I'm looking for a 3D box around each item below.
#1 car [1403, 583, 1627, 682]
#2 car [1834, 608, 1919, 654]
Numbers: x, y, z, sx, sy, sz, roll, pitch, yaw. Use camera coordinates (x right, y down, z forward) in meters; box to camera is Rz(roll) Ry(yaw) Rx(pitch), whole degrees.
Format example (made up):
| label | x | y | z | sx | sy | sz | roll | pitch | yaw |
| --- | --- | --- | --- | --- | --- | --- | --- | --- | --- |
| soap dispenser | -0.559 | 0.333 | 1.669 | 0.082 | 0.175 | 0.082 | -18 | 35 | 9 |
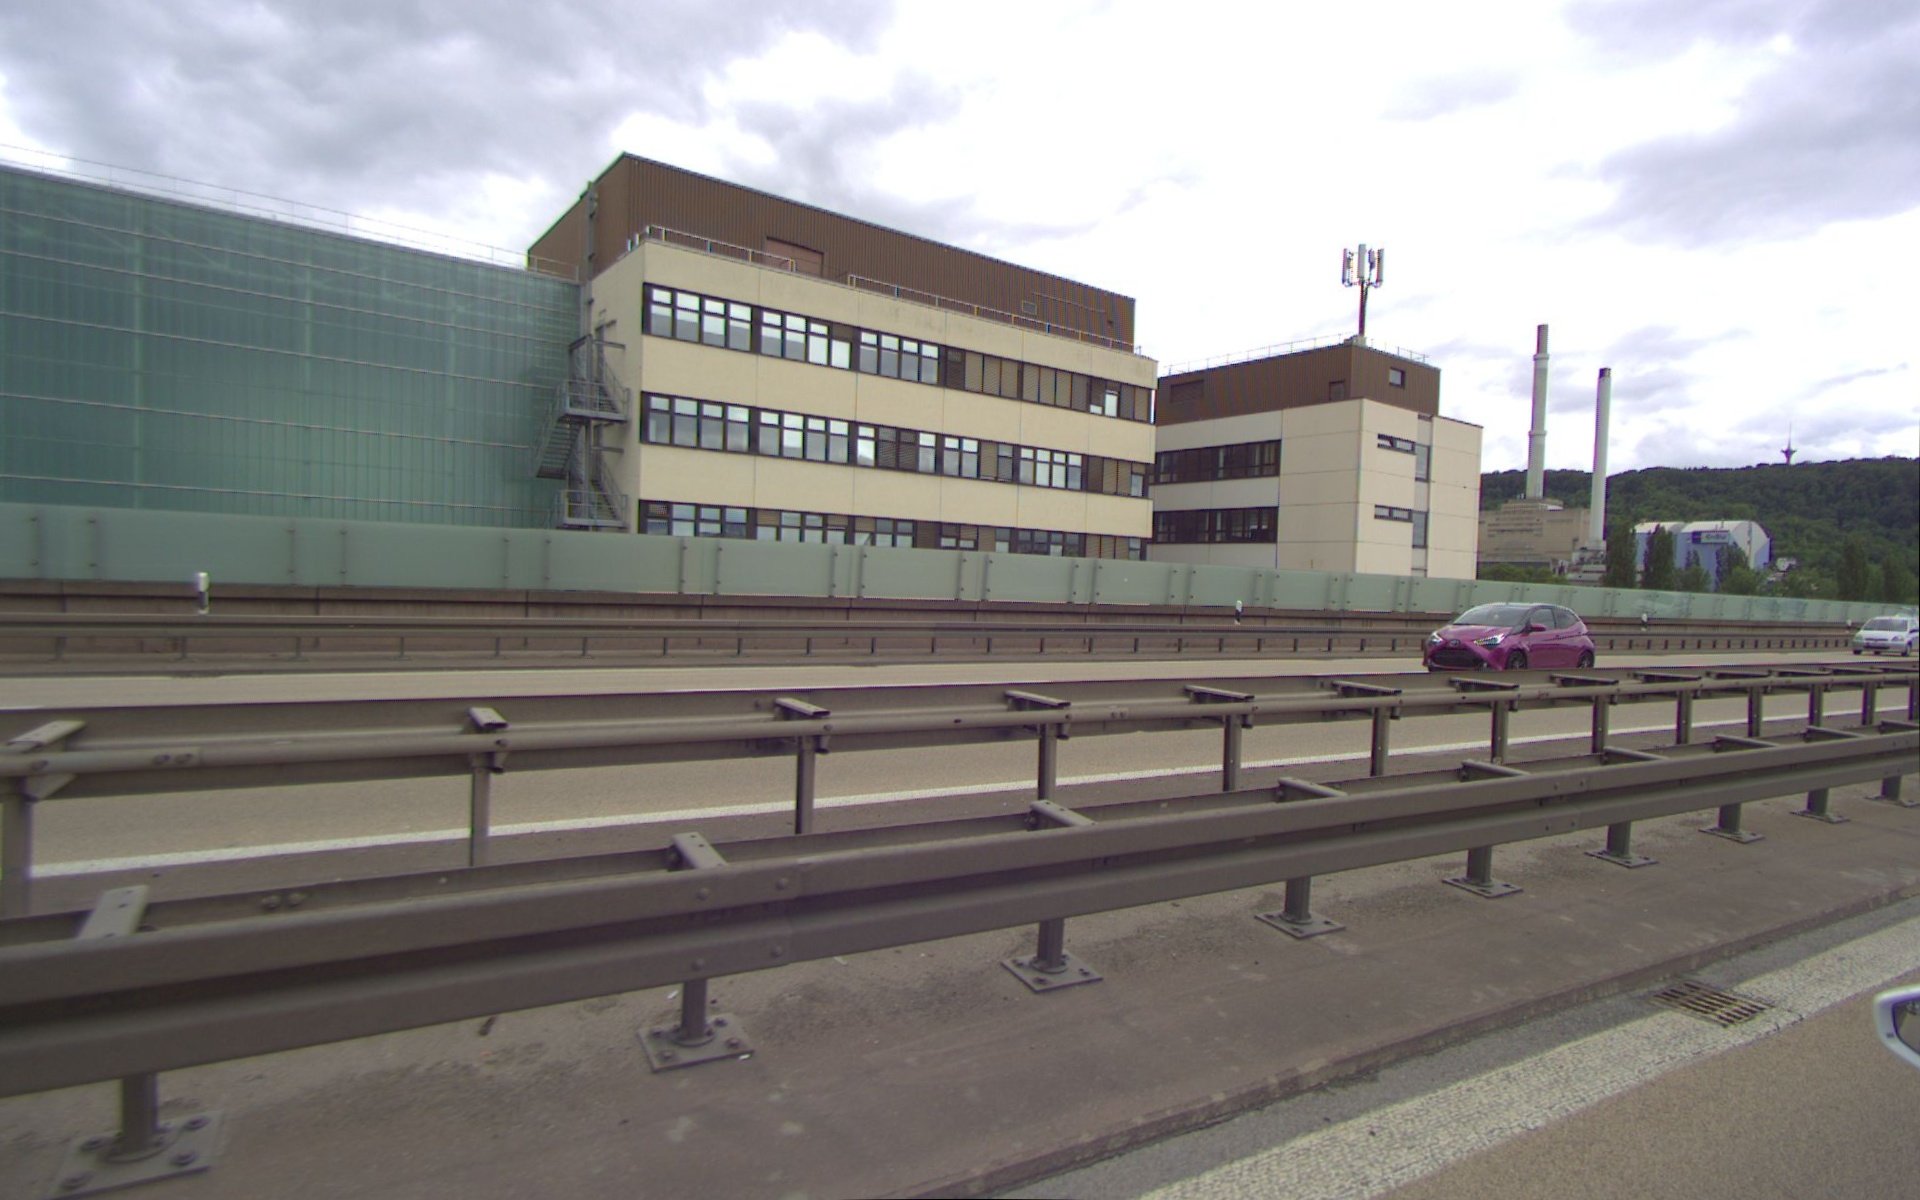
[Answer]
| label | x | y | z | sx | sy | sz | roll | pitch | yaw |
| --- | --- | --- | --- | --- | --- | --- | --- | --- | --- |
| car | 10.672 | 0.610 | 19.221 | 4.363 | 1.697 | 1.981 | 2 | 0 | -34 |
| car | 36.737 | 1.241 | 39.903 | 4.363 | 1.697 | 1.981 | 2 | 0 | -34 |
